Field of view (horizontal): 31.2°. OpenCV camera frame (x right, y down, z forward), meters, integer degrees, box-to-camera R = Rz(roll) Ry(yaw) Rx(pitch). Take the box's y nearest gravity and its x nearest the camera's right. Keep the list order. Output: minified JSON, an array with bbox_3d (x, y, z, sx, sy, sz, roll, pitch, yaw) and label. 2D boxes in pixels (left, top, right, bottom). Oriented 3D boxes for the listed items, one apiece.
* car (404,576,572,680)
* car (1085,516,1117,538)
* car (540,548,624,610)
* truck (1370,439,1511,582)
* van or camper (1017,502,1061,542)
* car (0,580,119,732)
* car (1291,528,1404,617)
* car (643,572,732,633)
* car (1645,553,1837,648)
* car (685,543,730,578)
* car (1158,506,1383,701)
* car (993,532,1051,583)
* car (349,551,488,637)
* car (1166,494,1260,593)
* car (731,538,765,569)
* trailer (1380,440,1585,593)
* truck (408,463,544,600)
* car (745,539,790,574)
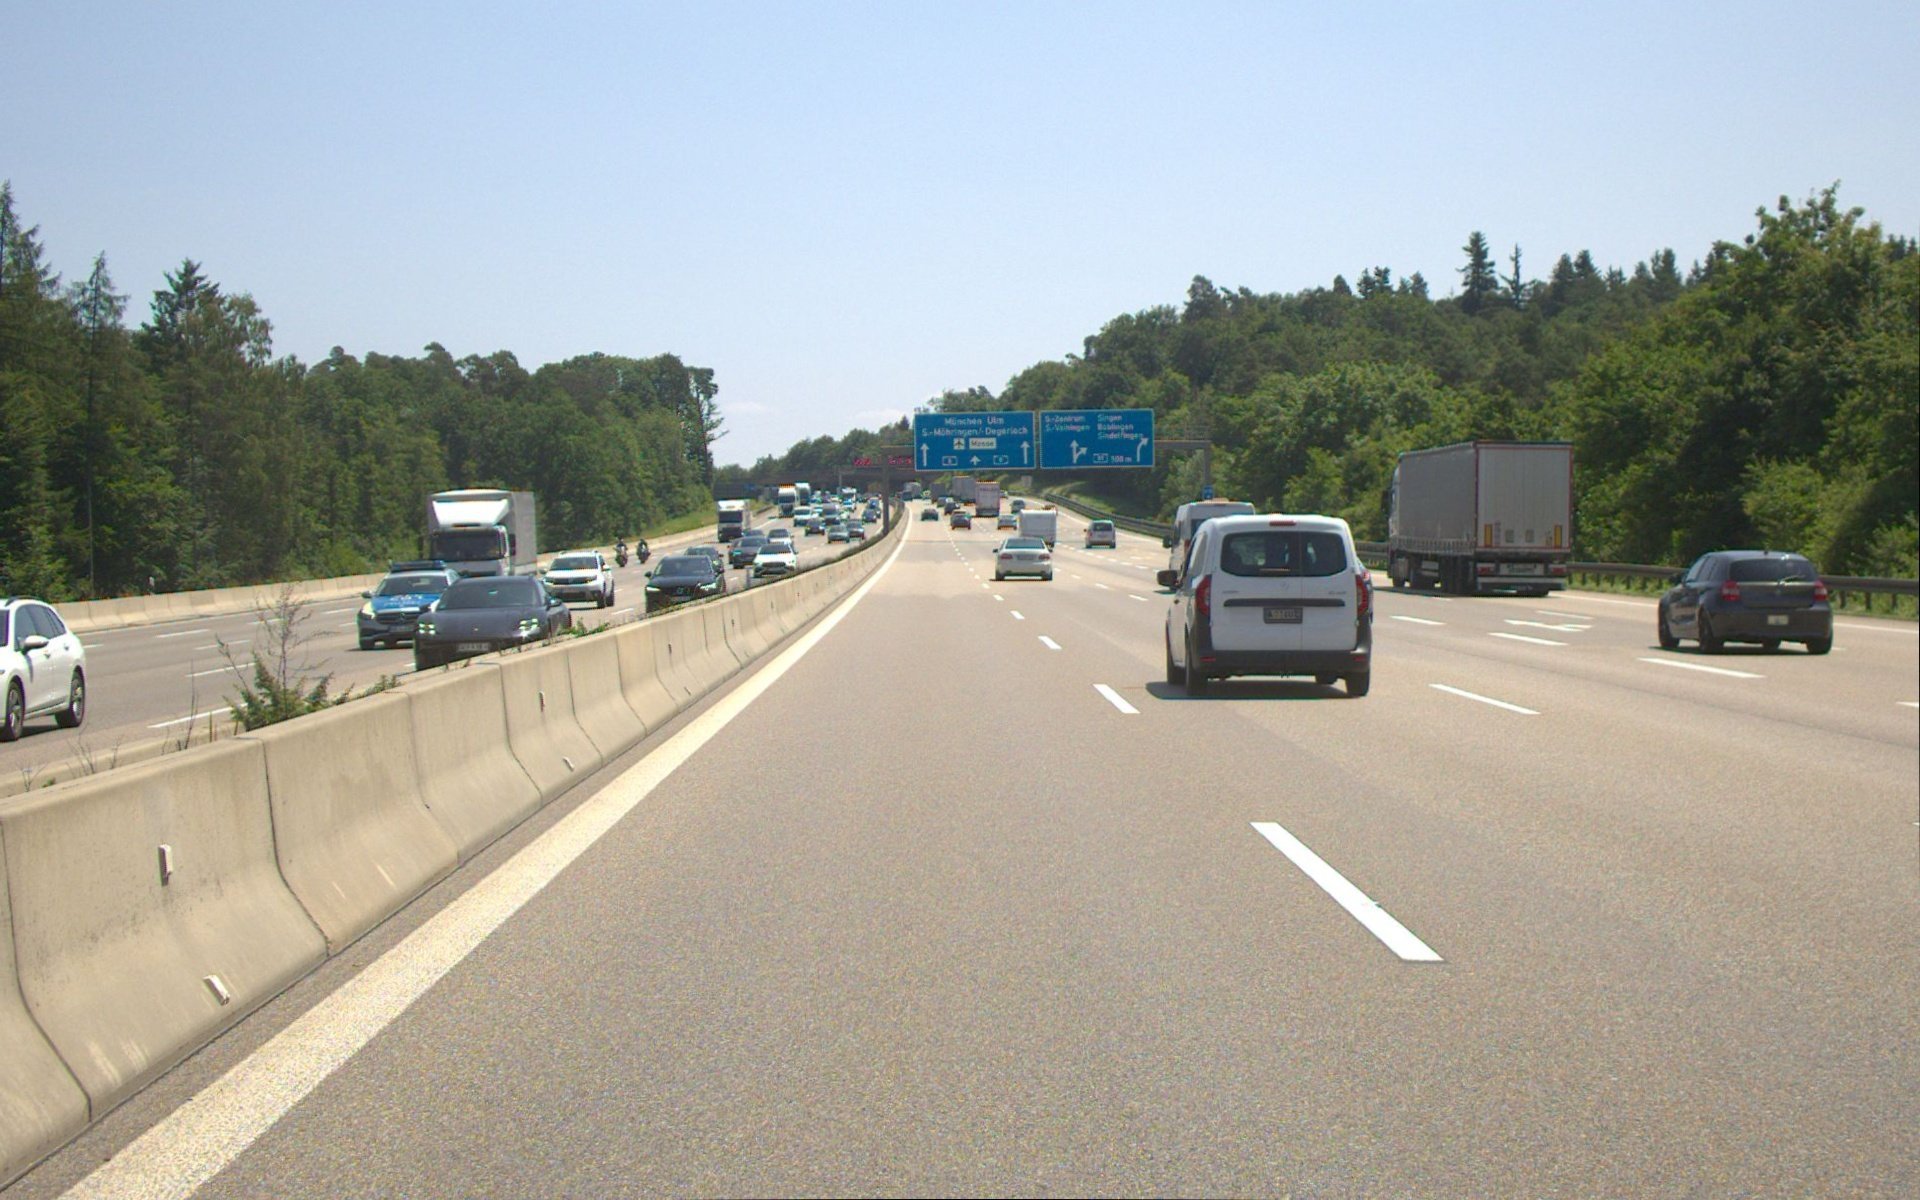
[{"bbox_3d":[-7.046,0.385,51.705,1.913,1.459,4.588,-1,0,-1],"label":"car"},{"bbox_3d":[9.116,-4.687,221.864,1.835,1.333,3.643,-2,1,-1],"label":"car"},{"bbox_3d":[-10.925,-0.630,99.558,1.913,1.655,4.689,-2,1,-1],"label":"car"},{"bbox_3d":[14.212,-2.678,102.083,3.254,4.092,5.988,0,2,-1],"label":"truck"},{"bbox_3d":[5.194,-5.128,226.547,2.645,2.530,6.502,-1,1,0],"label":"van or camper"},{"bbox_3d":[-10.422,0.564,36.632,1.760,1.459,4.840,-1,1,-1],"label":"car"},{"bbox_3d":[6.936,-0.515,61.777,1.503,1.495,3.650,-2,1,-1],"label":"car"},{"bbox_3d":[-6.900,0.041,87.370,1.913,1.459,4.364,-1,0,-1],"label":"car"},{"bbox_3d":[10.807,-0.007,47.823,1.670,1.269,4.290,0,0,0],"label":"car"},{"bbox_3d":[-10.952,-1.719,149.238,1.702,1.422,4.614,-2,1,-2],"label":"car"},{"bbox_3d":[3.120,-0.006,35.419,1.860,1.819,4.612,-2,1,0],"label":"car"},{"bbox_3d":[2.074,-1.455,116.403,1.843,1.623,4.553,-2,1,0],"label":"car"},{"bbox_3d":[-10.669,-0.156,68.034,1.913,1.507,5.232,-3,1,-1],"label":"car"},{"bbox_3d":[7.008,-1.607,95.597,2.143,2.643,5.710,0,2,0],"label":"car"},{"bbox_3d":[-10.888,-2.379,176.490,1.572,1.506,4.030,-2,1,-2],"label":"car"},{"bbox_3d":[14.300,-2.385,95.435,3.287,3.917,13.892,0,2,-1],"label":"trailer"},{"bbox_3d":[-14.938,-2.117,106.738,2.858,3.999,9.469,-1,1,0],"label":"truck"},{"bbox_3d":[-8.251,-1.869,147.567,1.824,1.389,4.465,-2,1,-2],"label":"car"}]
